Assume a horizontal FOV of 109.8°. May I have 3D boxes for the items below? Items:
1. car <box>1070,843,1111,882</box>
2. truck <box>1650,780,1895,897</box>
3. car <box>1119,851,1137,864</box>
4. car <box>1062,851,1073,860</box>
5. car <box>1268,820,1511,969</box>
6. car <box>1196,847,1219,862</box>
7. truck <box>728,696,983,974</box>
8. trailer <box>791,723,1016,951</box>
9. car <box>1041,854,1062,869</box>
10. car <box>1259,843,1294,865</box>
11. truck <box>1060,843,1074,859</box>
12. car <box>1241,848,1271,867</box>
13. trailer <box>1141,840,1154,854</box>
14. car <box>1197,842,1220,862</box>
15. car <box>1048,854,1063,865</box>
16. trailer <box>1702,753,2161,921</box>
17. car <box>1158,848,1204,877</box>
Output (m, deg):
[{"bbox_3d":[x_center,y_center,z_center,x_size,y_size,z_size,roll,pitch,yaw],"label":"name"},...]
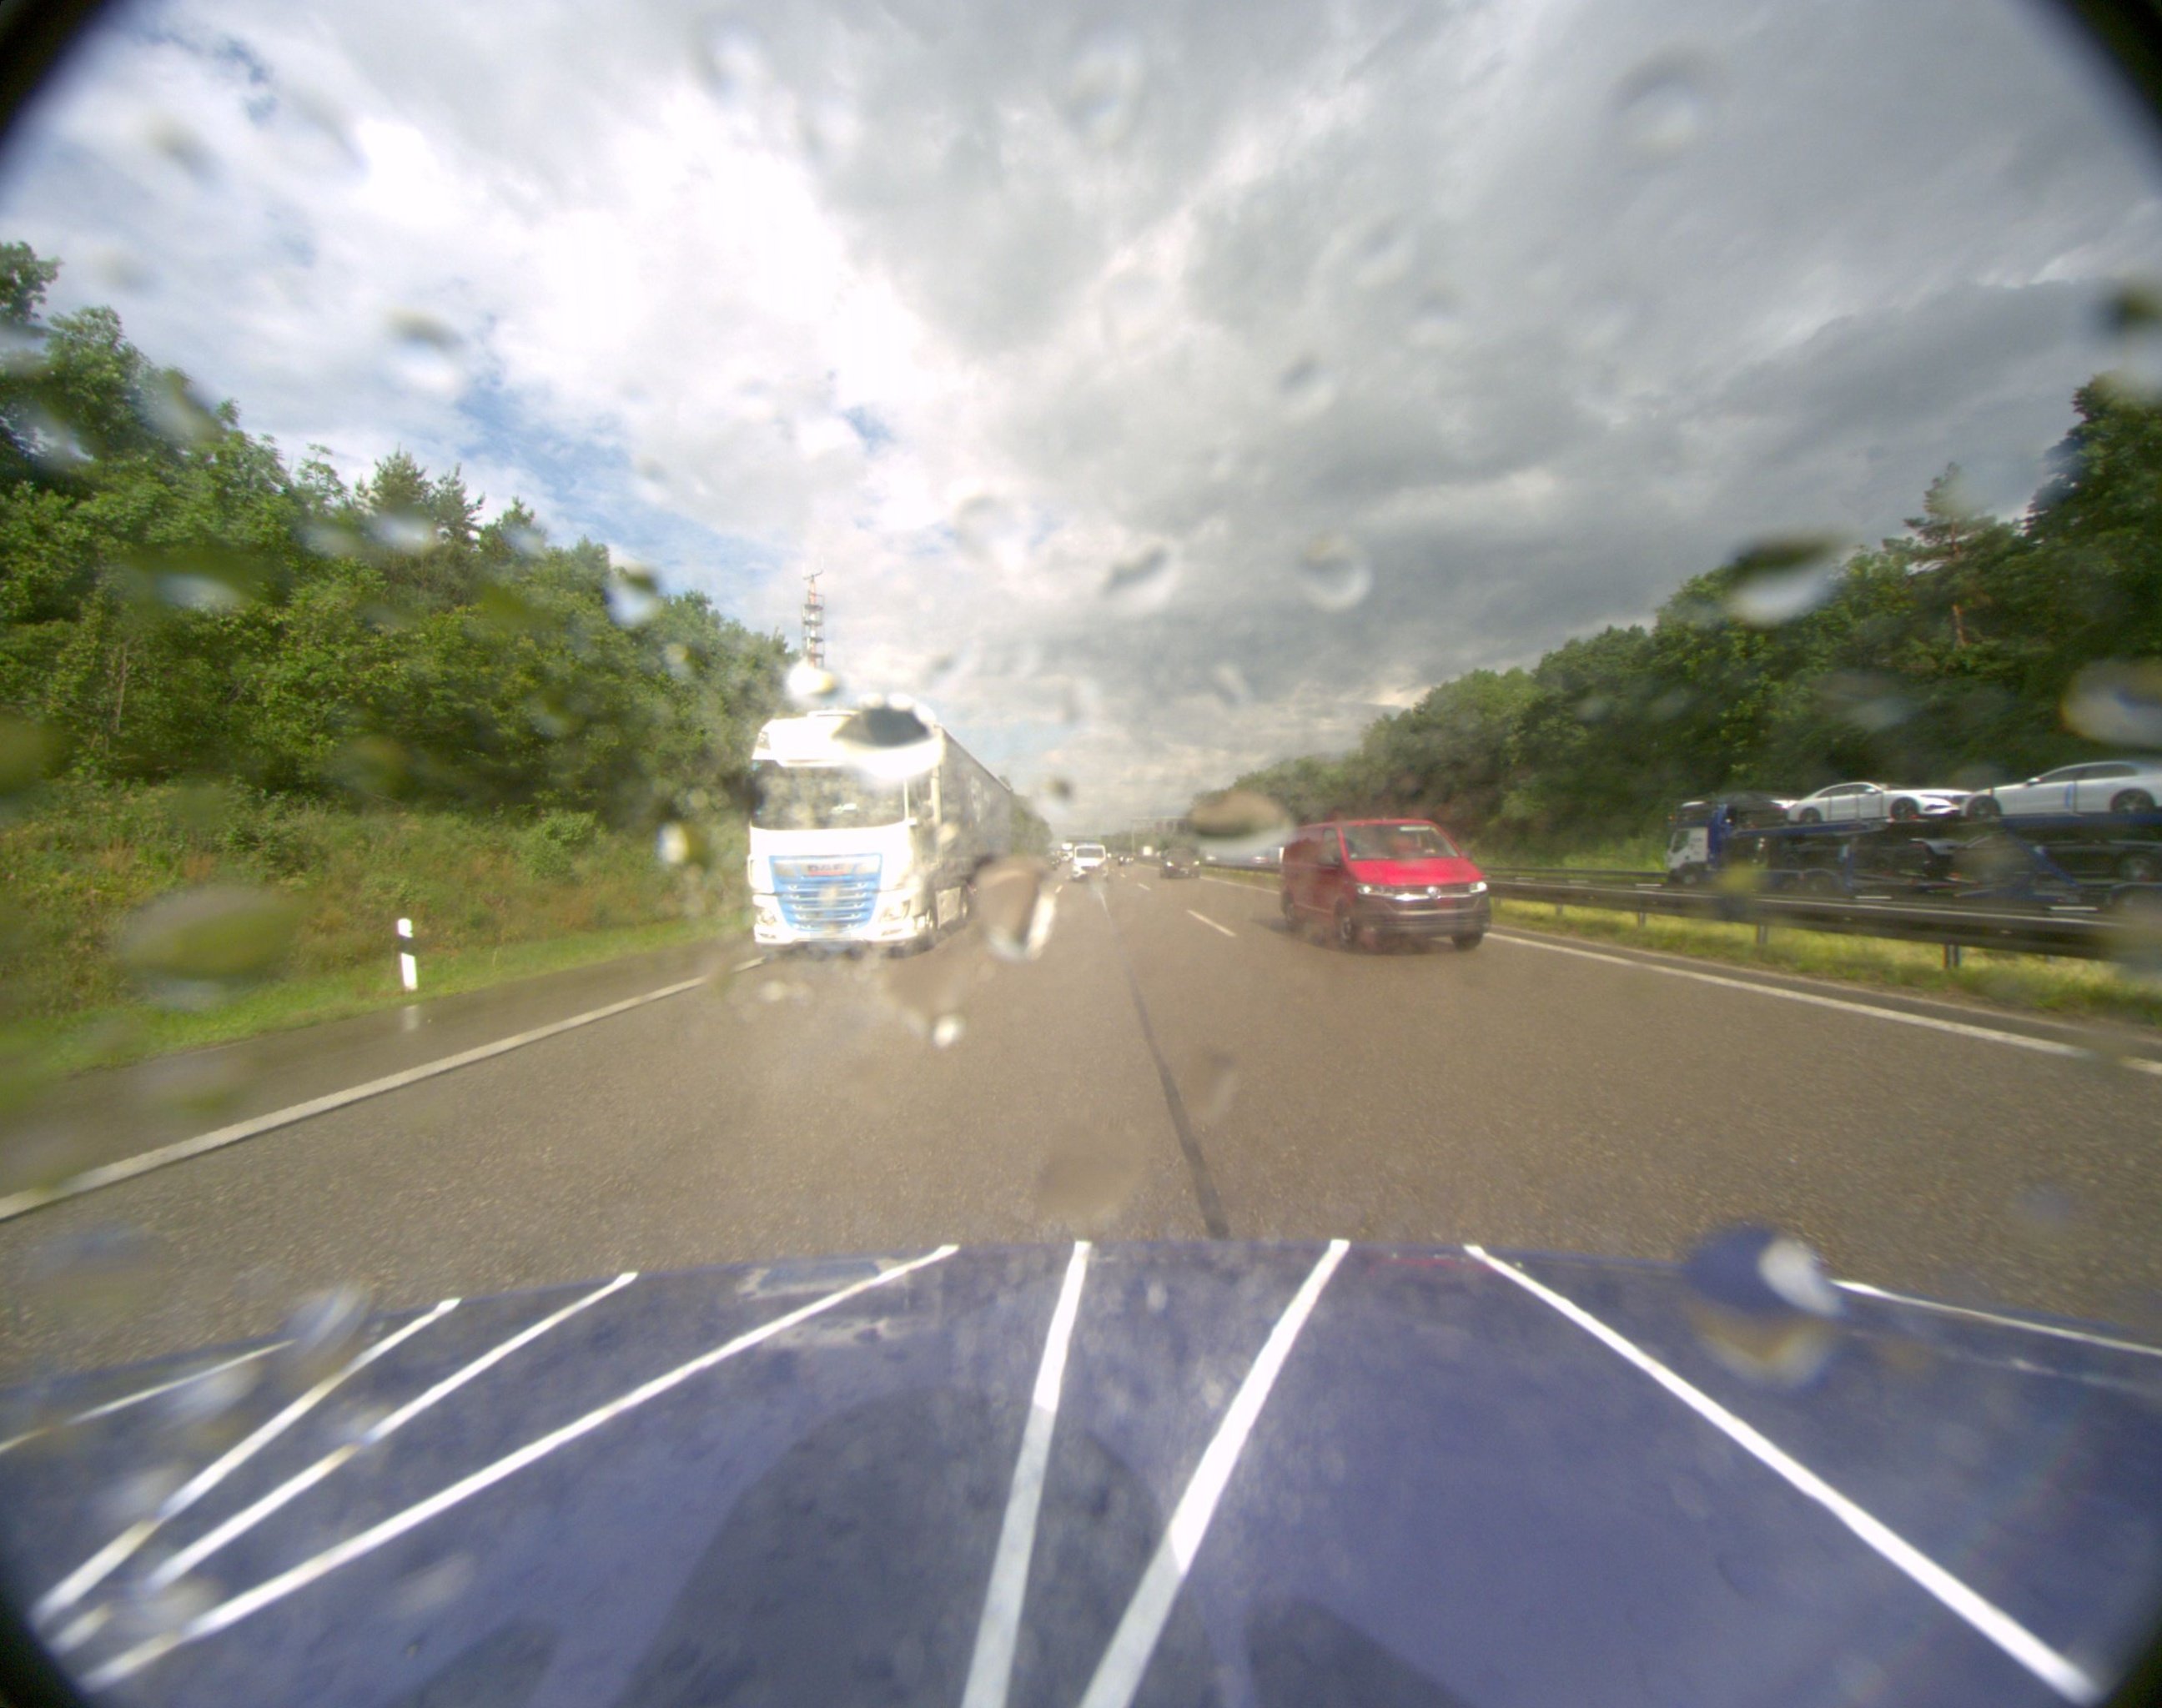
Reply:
[{"bbox_3d":[0.546,0.416,43.338,2.124,1.988,5.982,-2,1,1],"label":"car"},{"bbox_3d":[25.905,-0.564,29.069,2.998,3.809,6.862,-3,1,0],"label":"truck"},{"bbox_3d":[5.657,0.352,91.581,1.799,1.410,4.838,-2,1,1],"label":"car"},{"bbox_3d":[-2.483,0.255,140.221,1.799,1.410,4.838,-2,1,1],"label":"car"},{"bbox_3d":[4.565,0.499,12.198,1.927,1.855,4.838,-2,1,1],"label":"car"},{"bbox_3d":[14.907,0.048,89.493,1.850,1.653,4.661,-2,1,0],"label":"car"},{"bbox_3d":[-3.771,-0.305,14.781,2.613,3.973,7.289,-2,1,0],"label":"truck"},{"bbox_3d":[-3.756,-0.361,20.597,2.641,3.972,14.062,-2,1,0],"label":"trailer"},{"bbox_3d":[-2.975,0.745,77.303,1.799,1.410,4.838,-2,1,1],"label":"car"},{"bbox_3d":[18.076,-0.010,70.601,1.873,1.935,5.040,-2,1,0],"label":"car"},{"bbox_3d":[-3.360,-0.645,184.026,3.064,3.827,8.799,-1,0,0],"label":"truck"},{"bbox_3d":[14.409,0.272,62.727,1.607,1.455,3.651,-2,1,0],"label":"car"},{"bbox_3d":[21.955,-2.346,251.293,2.870,4.347,14.090,-2,1,0],"label":"trailer"},{"bbox_3d":[19.305,-0.349,115.383,2.268,2.853,6.930,-2,1,0],"label":"car"},{"bbox_3d":[-3.506,0.695,106.360,1.799,1.410,4.838,-2,1,1],"label":"car"},{"bbox_3d":[25.987,-0.488,20.870,2.998,3.809,17.948,-3,1,0],"label":"trailer"},{"bbox_3d":[5.693,0.447,43.722,2.009,1.488,4.838,-2,1,1],"label":"car"}]
